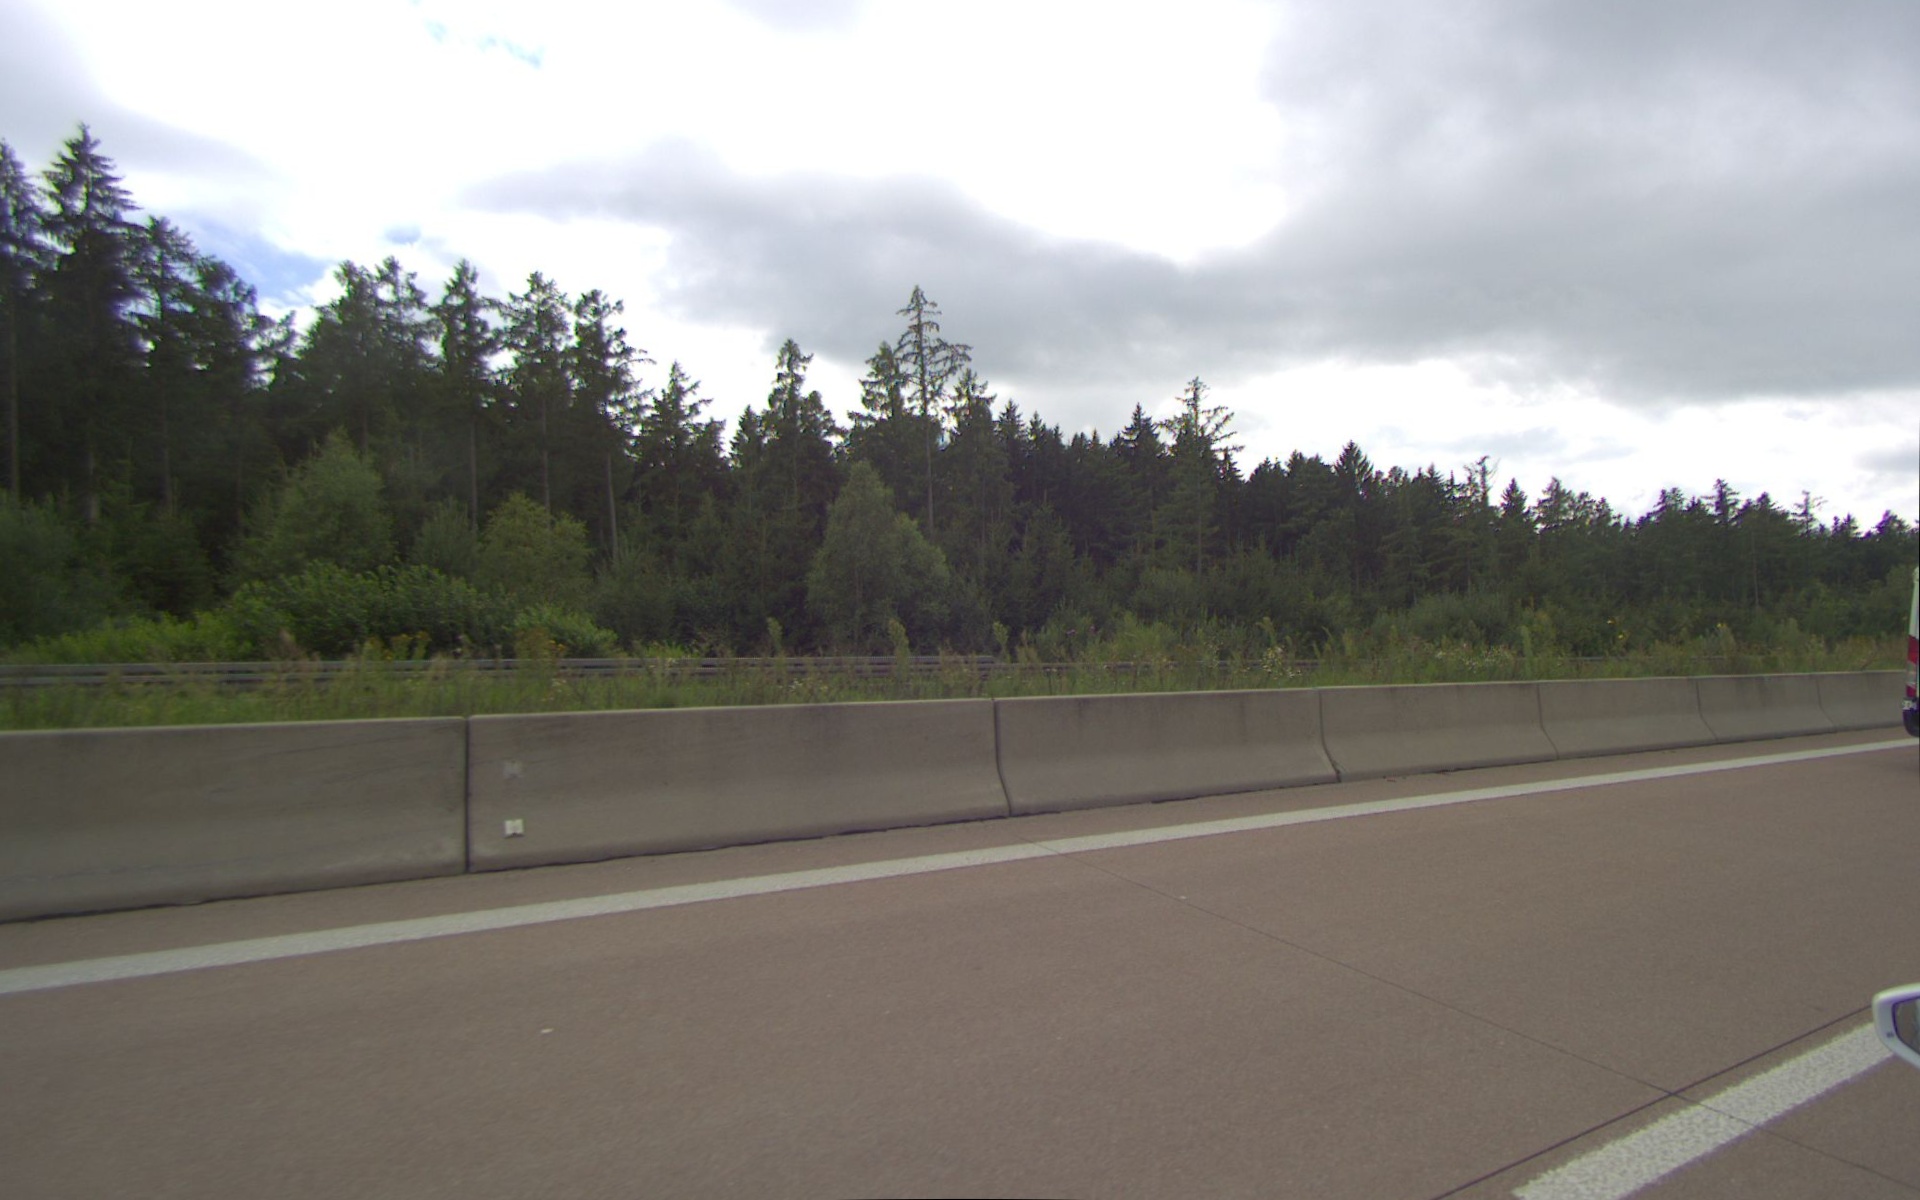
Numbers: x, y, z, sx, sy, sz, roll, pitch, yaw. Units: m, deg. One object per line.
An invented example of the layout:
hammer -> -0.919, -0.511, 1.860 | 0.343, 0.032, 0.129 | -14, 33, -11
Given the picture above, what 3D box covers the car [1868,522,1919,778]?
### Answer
car -> 12.919, 0.560, 11.194 | 7.047, 2.540, 2.127 | 1, -1, -30
